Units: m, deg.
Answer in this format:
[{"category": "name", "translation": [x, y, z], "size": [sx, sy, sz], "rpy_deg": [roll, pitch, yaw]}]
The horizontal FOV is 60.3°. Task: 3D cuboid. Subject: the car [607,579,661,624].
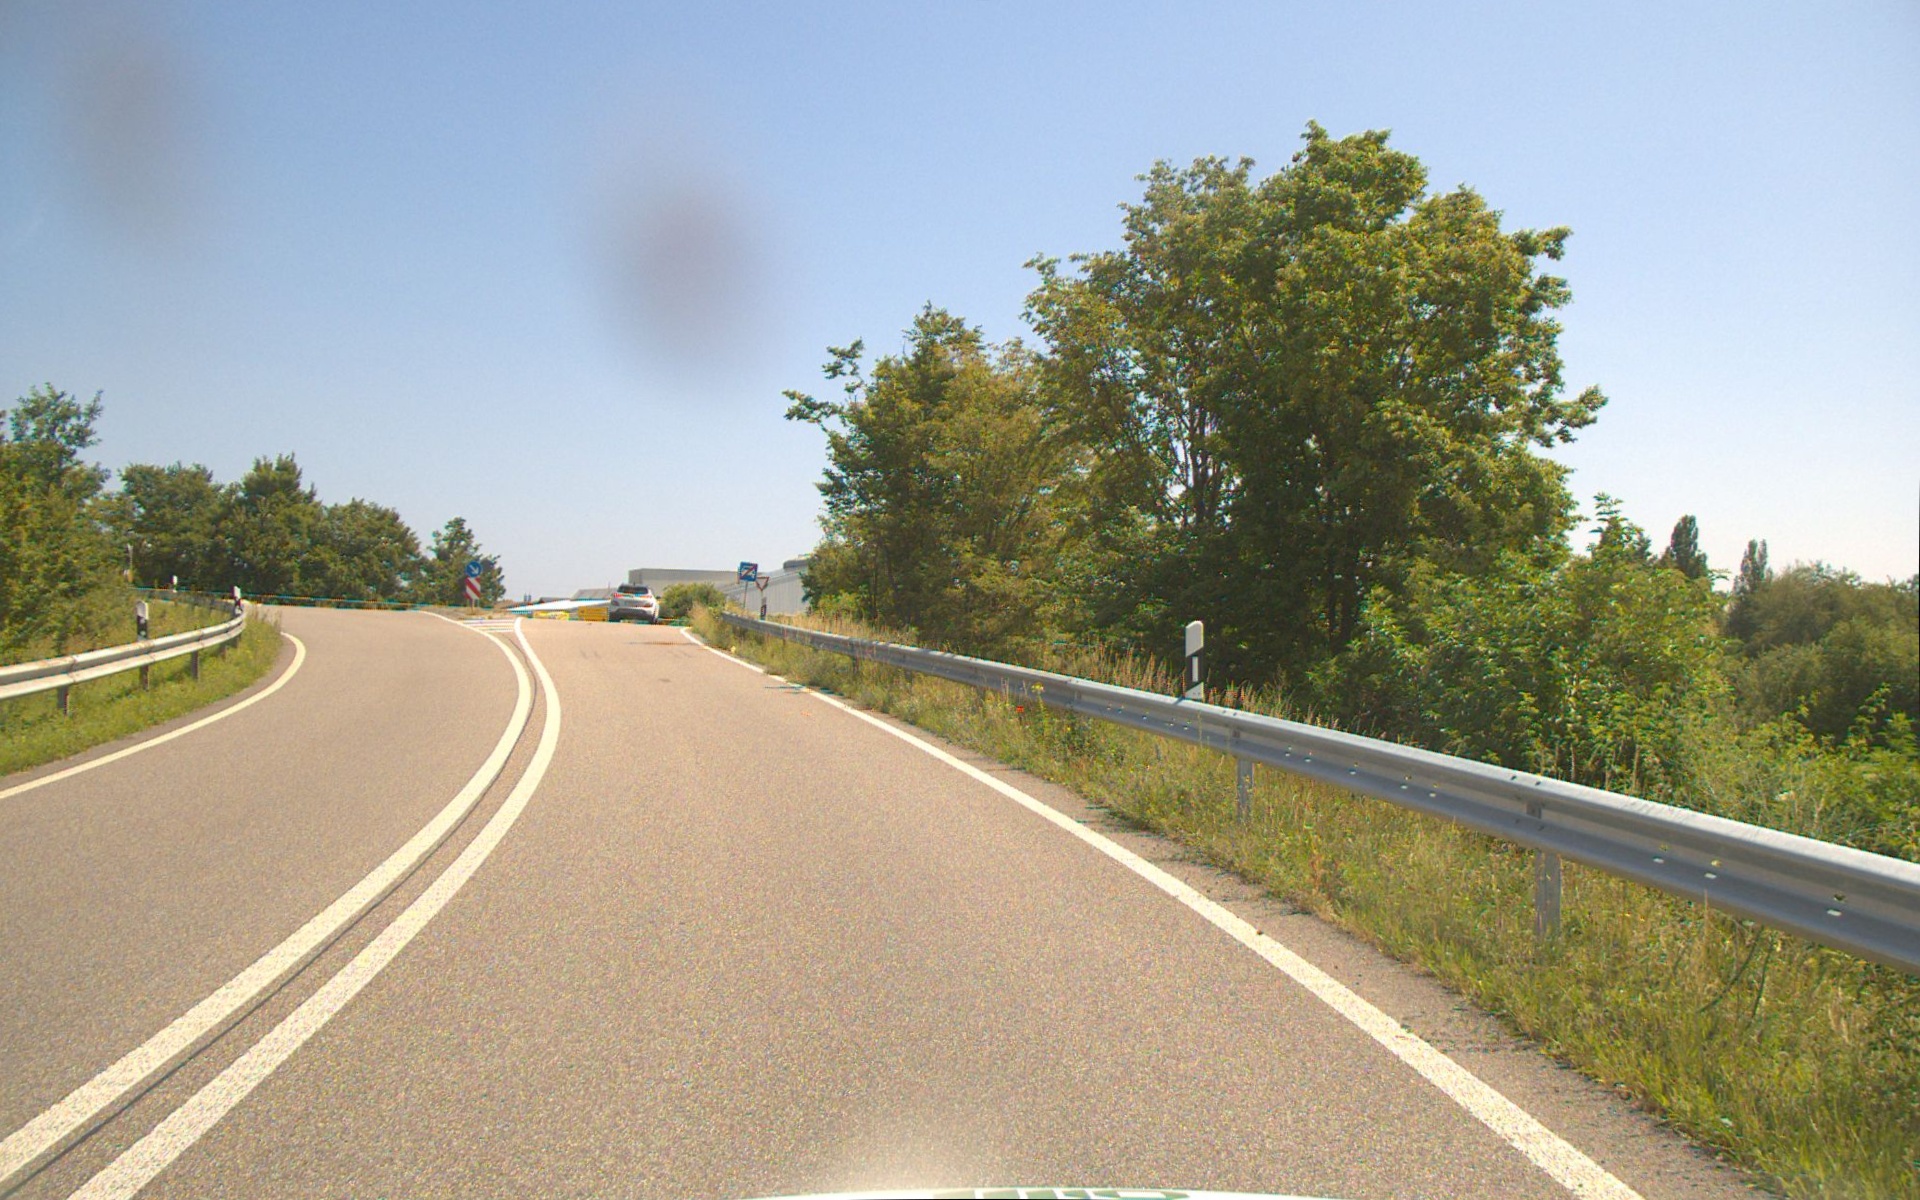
[{"category": "car", "translation": [-13.180, 0.071, 66.965], "size": [1.774, 1.721, 3.994], "rpy_deg": [0, -1, -6]}]
